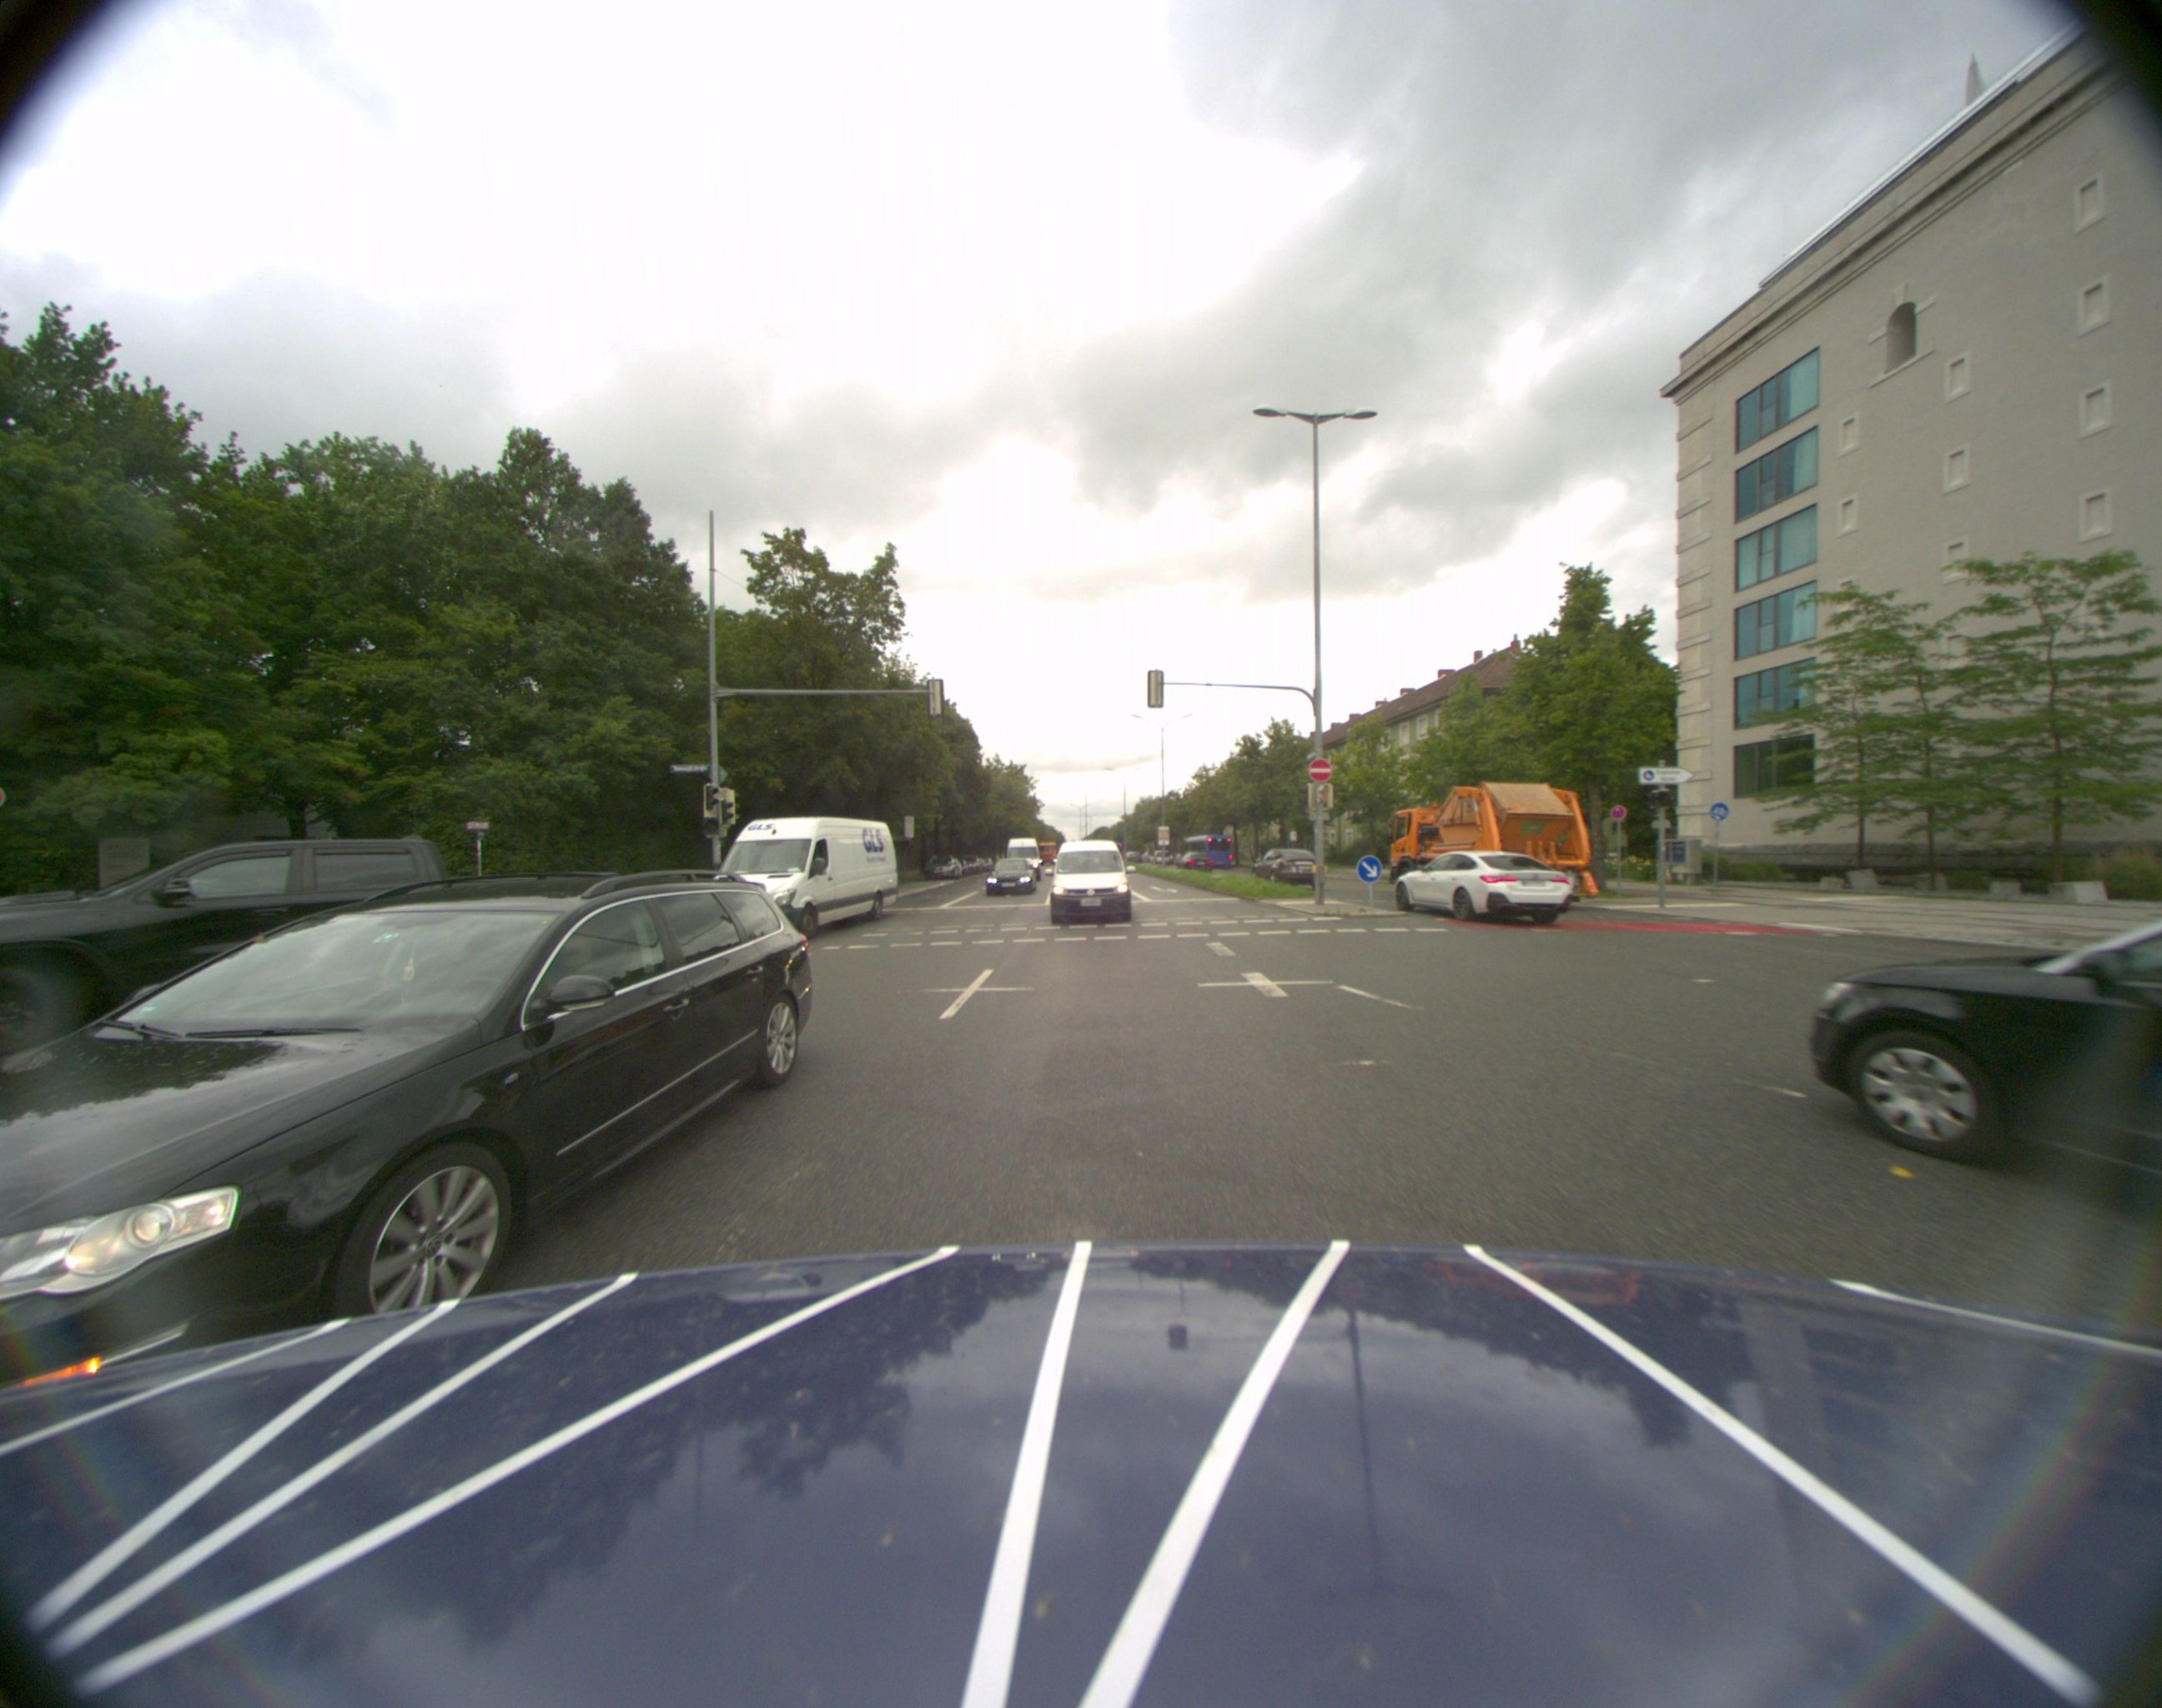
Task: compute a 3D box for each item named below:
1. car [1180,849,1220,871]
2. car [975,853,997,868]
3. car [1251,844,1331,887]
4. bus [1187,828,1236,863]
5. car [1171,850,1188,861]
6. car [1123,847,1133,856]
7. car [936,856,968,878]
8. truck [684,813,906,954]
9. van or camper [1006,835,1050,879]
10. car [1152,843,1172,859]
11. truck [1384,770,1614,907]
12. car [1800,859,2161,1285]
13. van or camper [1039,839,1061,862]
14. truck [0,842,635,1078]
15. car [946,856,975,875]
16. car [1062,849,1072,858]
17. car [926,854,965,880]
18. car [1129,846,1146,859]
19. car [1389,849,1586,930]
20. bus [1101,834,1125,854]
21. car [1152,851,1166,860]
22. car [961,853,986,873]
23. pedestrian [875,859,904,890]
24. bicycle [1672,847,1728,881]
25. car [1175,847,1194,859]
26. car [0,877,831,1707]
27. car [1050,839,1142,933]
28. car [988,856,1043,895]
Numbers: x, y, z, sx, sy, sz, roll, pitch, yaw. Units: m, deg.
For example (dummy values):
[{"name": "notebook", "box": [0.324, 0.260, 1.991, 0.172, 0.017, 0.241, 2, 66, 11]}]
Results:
[{"name": "car", "box": [8.247, 0.384, 53.115, 1.931, 1.453, 4.897, 1, 0, -1]}, {"name": "car", "box": [-9.783, 0.641, 78.300, 1.752, 1.459, 4.254, -1, 1, -1]}, {"name": "car", "box": [8.397, 0.418, 30.838, 1.867, 1.533, 4.749, 3, 1, 0]}, {"name": "bus", "box": [13.482, -0.858, 79.742, 2.752, 3.324, 12.046, 0, 0, -1]}, {"name": "car", "box": [13.445, 0.230, 103.712, 1.857, 1.454, 3.909, -2, 0, 0]}, {"name": "car", "box": [11.537, -0.650, 185.471, 1.999, 2.002, 3.999, -1, 1, -1]}, {"name": "car", "box": [-9.625, 0.938, 56.885, 1.752, 1.515, 4.395, -1, 1, -1]}, {"name": "truck", "box": [-6.150, 0.512, 17.737, 1.998, 2.589, 7.228, -1, 1, 3]}, {"name": "van or camper", "box": [-3.193, 0.166, 47.634, 2.183, 2.546, 7.074, -1, 0, 0]}, {"name": "car", "box": [9.878, -0.368, 92.627, 1.784, 1.801, 4.429, 2, 0, -2]}, {"name": "truck", "box": [11.803, -0.416, 22.442, 2.787, 3.337, 7.265, -1, 1, 0]}, {"name": "car", "box": [4.689, 0.794, 2.169, 1.644, 1.478, 3.780, -1, 1, -2]}, {"name": "van or camper", "box": [-4.349, -0.491, 109.040, 2.780, 3.219, 7.074, -1, 1, 0]}, {"name": "truck", "box": [-8.727, 0.898, 8.713, 2.099, 2.002, 5.824, 0, 1, 42]}, {"name": "car", "box": [-9.834, 0.930, 62.420, 1.752, 1.420, 4.254, -1, 1, -1]}, {"name": "car", "box": [-3.034, -0.157, 163.521, 1.998, 2.002, 4.000, -1, 1, 0]}, {"name": "car", "box": [-9.140, 0.846, 51.567, 1.884, 1.640, 4.395, -1, 1, -1]}, {"name": "car", "box": [7.039, -0.154, 94.868, 1.702, 1.561, 4.290, -1, 1, -2]}, {"name": "car", "box": [8.545, 0.648, 16.539, 1.732, 1.478, 4.742, -1, 1, 0]}, {"name": "bus", "box": [5.719, -1.741, 136.968, 2.753, 3.324, 12.267, 0, 0, -5]}, {"name": "car", "box": [12.914, 0.209, 125.674, 1.857, 1.454, 3.909, -2, 0, 0]}, {"name": "car", "box": [-9.627, 0.774, 68.229, 1.752, 1.640, 4.254, -1, 1, -1]}, {"name": "pedestrian", "box": [-9.143, 0.959, 36.250, 1.157, 1.375, 0.611, -4, 1, -2]}, {"name": "bicycle", "box": [22.586, 0.348, 27.773, 0.546, 1.174, 1.826, -1, 1, -1]}, {"name": "car", "box": [13.422, -0.134, 99.021, 1.857, 1.454, 3.909, -2, 0, 0]}, {"name": "car", "box": [-2.823, 0.957, 3.634, 1.752, 1.466, 4.670, -2, 1, -1]}, {"name": "car", "box": [0.246, 0.607, 17.122, 1.752, 1.809, 4.670, -1, 1, -1]}, {"name": "car", "box": [-2.629, 0.831, 31.429, 1.819, 1.421, 4.671, -1, 0, 1]}]
